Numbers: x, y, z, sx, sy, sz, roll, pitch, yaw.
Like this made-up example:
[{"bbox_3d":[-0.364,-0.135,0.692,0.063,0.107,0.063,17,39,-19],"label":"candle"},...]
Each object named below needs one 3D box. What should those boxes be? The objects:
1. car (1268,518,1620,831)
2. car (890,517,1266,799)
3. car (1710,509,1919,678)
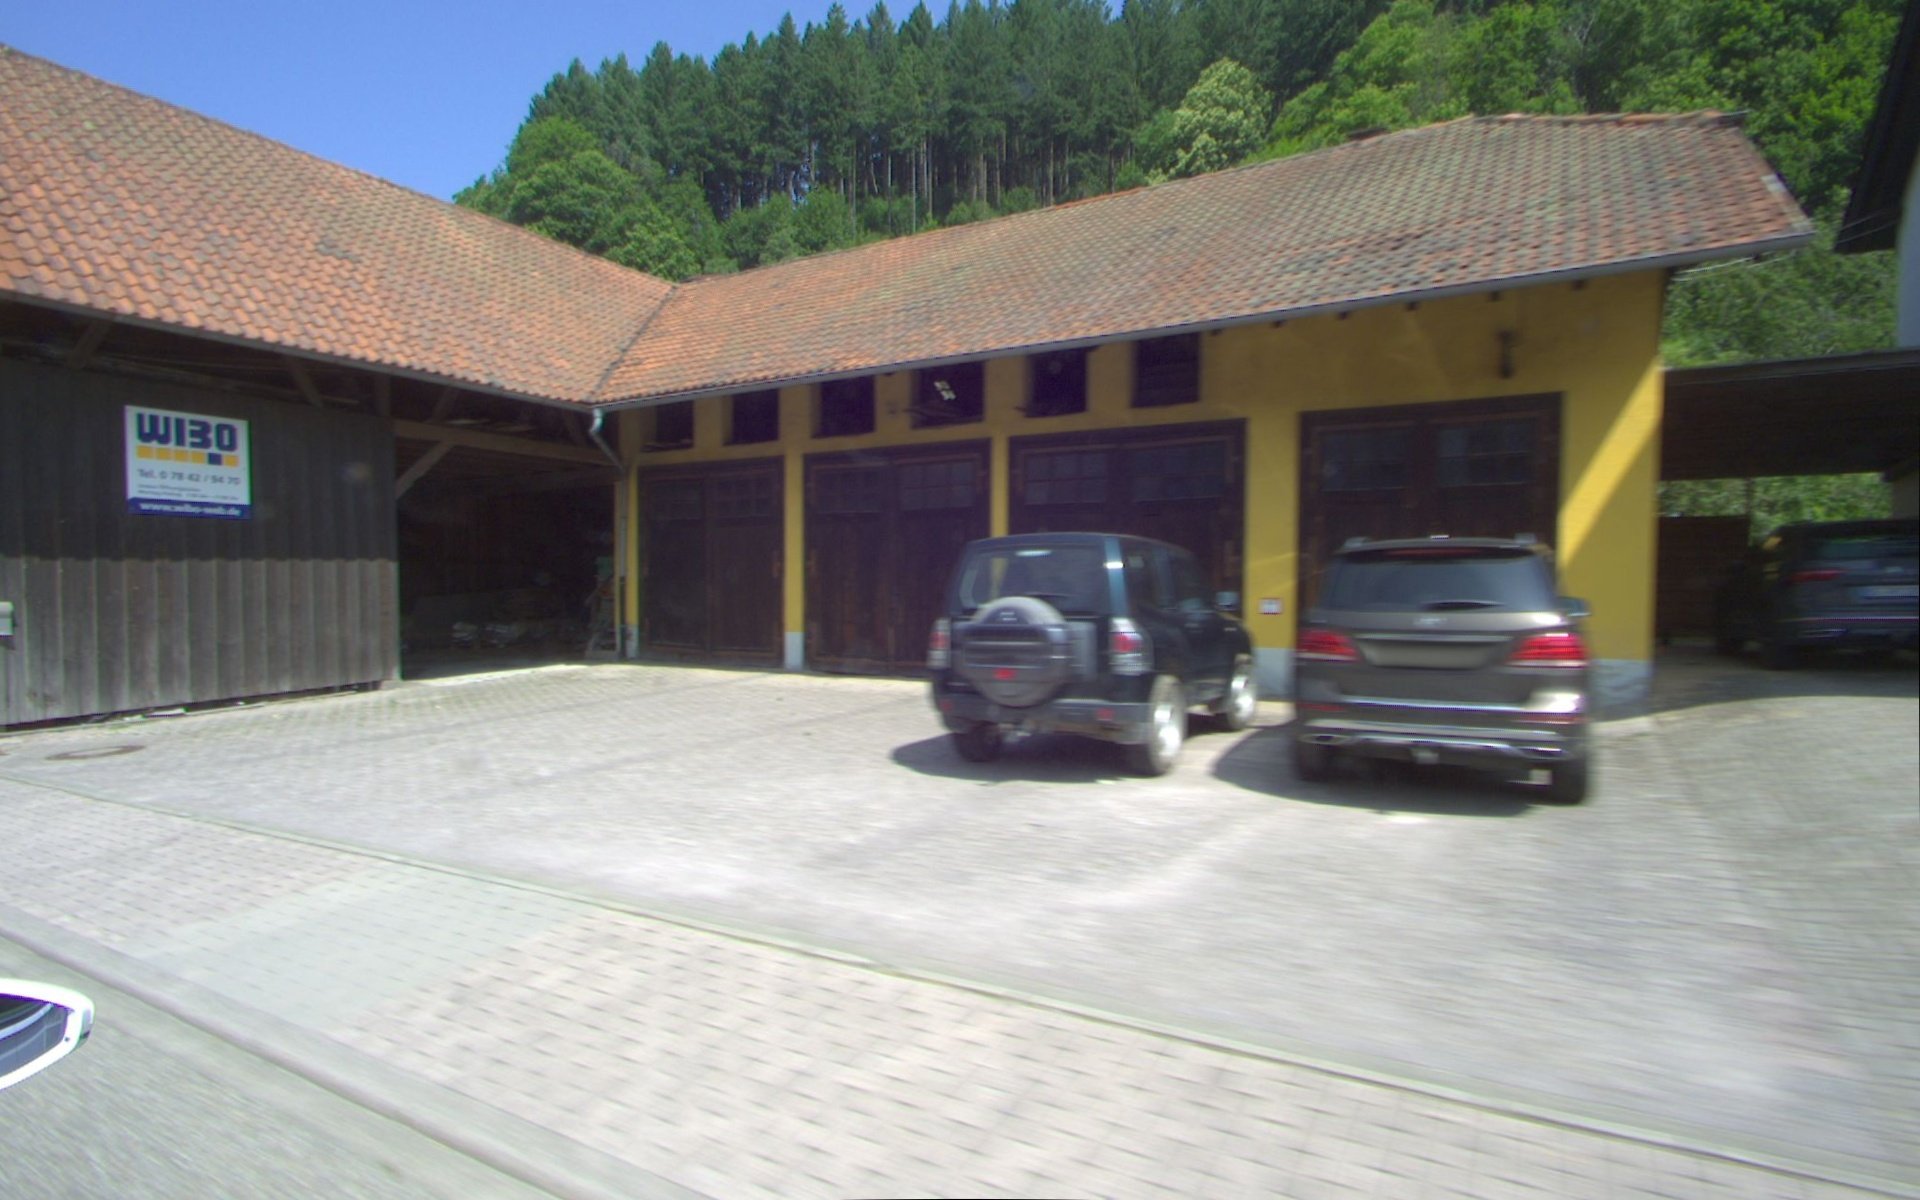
[{"bbox_3d":[3.813,0.392,8.102,1.921,1.783,4.417,-1,1,25],"label":"car"},{"bbox_3d":[1.302,0.353,8.868,1.924,1.857,4.121,-1,1,28],"label":"car"},{"bbox_3d":[10.242,-0.103,11.683,1.843,1.666,3.981,-1,1,29],"label":"car"}]
